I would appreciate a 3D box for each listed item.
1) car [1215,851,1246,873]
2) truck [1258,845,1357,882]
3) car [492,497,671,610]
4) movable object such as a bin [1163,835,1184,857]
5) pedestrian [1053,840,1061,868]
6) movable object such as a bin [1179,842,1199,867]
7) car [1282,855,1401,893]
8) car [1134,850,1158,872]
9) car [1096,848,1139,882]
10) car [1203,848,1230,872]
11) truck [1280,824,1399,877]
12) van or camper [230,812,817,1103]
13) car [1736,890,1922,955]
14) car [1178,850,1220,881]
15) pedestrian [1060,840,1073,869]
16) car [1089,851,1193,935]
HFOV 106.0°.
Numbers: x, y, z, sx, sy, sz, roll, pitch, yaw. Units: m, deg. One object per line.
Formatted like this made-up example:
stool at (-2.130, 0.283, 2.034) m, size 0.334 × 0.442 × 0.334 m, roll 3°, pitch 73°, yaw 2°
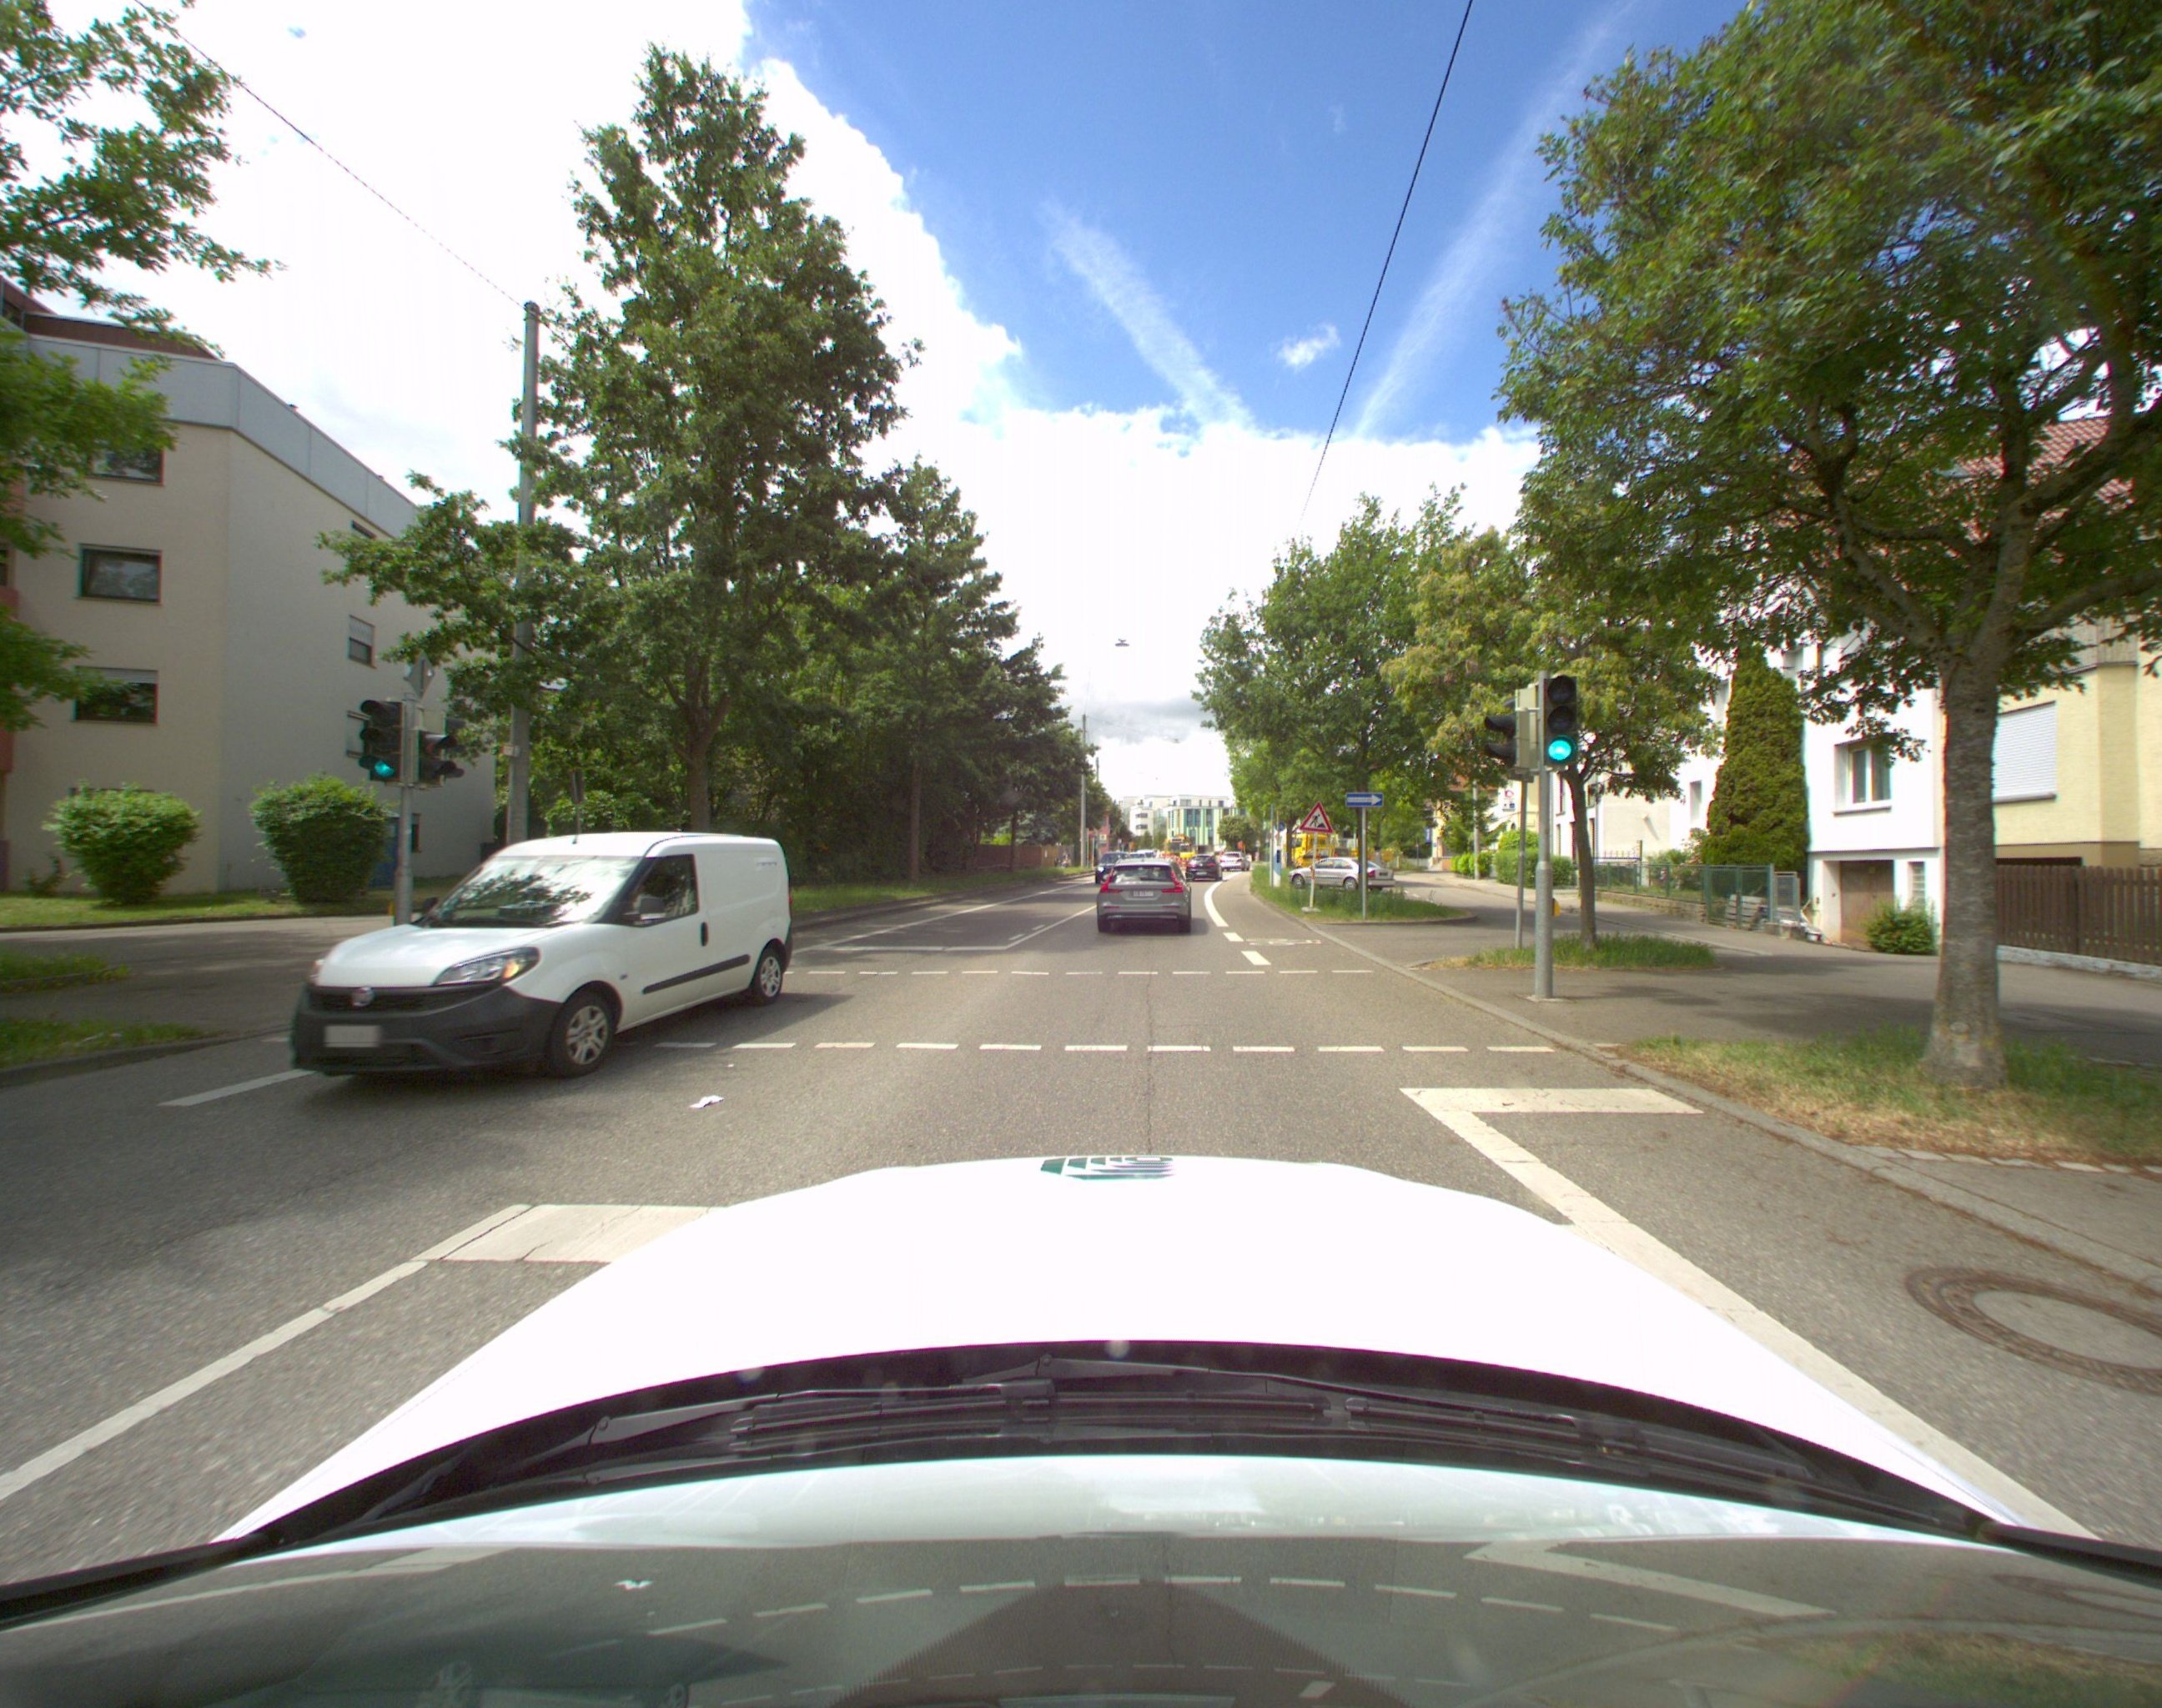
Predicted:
car at (11.465, 0.640, 62.772) m, size 2.091 × 1.510 × 4.008 m, roll 3°, pitch -1°, yaw 7°
truck at (13.612, 0.521, 49.281) m, size 2.009 × 2.014 × 5.614 m, roll 4°, pitch -1°, yaw -38°
car at (-12.828, -7.723, 21.273) m, size 1.819 × 1.330 × 4.006 m, roll 3°, pitch -2°, yaw 6°
movable object such as a bin at (12.801, -1.056, 112.851) m, size 2.303 × 2.990 × 6.426 m, roll 0°, pitch 0°, yaw 0°
pedestrian at (-1.729, 0.036, 59.225) m, size 0.399 × 2.014 × 0.415 m, roll 3°, pitch -1°, yaw 10°
movable object such as a bin at (11.895, 0.045, 89.317) m, size 2.023 × 2.643 × 5.953 m, roll 0°, pitch 0°, yaw 8°
car at (10.941, 0.805, 34.493) m, size 1.775 × 1.451 × 4.639 m, roll 1°, pitch 0°, yaw -35°
car at (4.887, 0.553, 60.842) m, size 1.700 × 1.618 × 4.005 m, roll 0°, pitch -1°, yaw 5°
car at (1.981, 0.575, 42.941) m, size 1.869 × 1.687 × 4.256 m, roll -1°, pitch 0°, yaw 8°
car at (12.503, 0.580, 75.075) m, size 1.979 × 2.014 × 4.016 m, roll 3°, pitch -1°, yaw 16°
truck at (16.127, -0.256, 51.208) m, size 2.782 × 3.008 × 6.632 m, roll 4°, pitch -1°, yaw -37°
van or camper at (-4.229, 0.626, 7.273) m, size 1.851 × 1.776 × 4.389 m, roll 1°, pitch 0°, yaw 7°
car at (16.106, 1.415, 17.790) m, size 1.450 × 1.124 × 3.888 m, roll 3°, pitch -1°, yaw 17°
car at (6.262, 0.620, 43.450) m, size 1.656 × 1.508 × 3.701 m, roll 1°, pitch -1°, yaw -1°
pedestrian at (-1.027, 0.056, 58.557) m, size 0.711 × 2.014 × 0.773 m, roll 3°, pitch -1°, yaw 6°
car at (1.370, 0.746, 17.328) m, size 1.918 × 1.540 × 4.007 m, roll -1°, pitch -1°, yaw 7°
